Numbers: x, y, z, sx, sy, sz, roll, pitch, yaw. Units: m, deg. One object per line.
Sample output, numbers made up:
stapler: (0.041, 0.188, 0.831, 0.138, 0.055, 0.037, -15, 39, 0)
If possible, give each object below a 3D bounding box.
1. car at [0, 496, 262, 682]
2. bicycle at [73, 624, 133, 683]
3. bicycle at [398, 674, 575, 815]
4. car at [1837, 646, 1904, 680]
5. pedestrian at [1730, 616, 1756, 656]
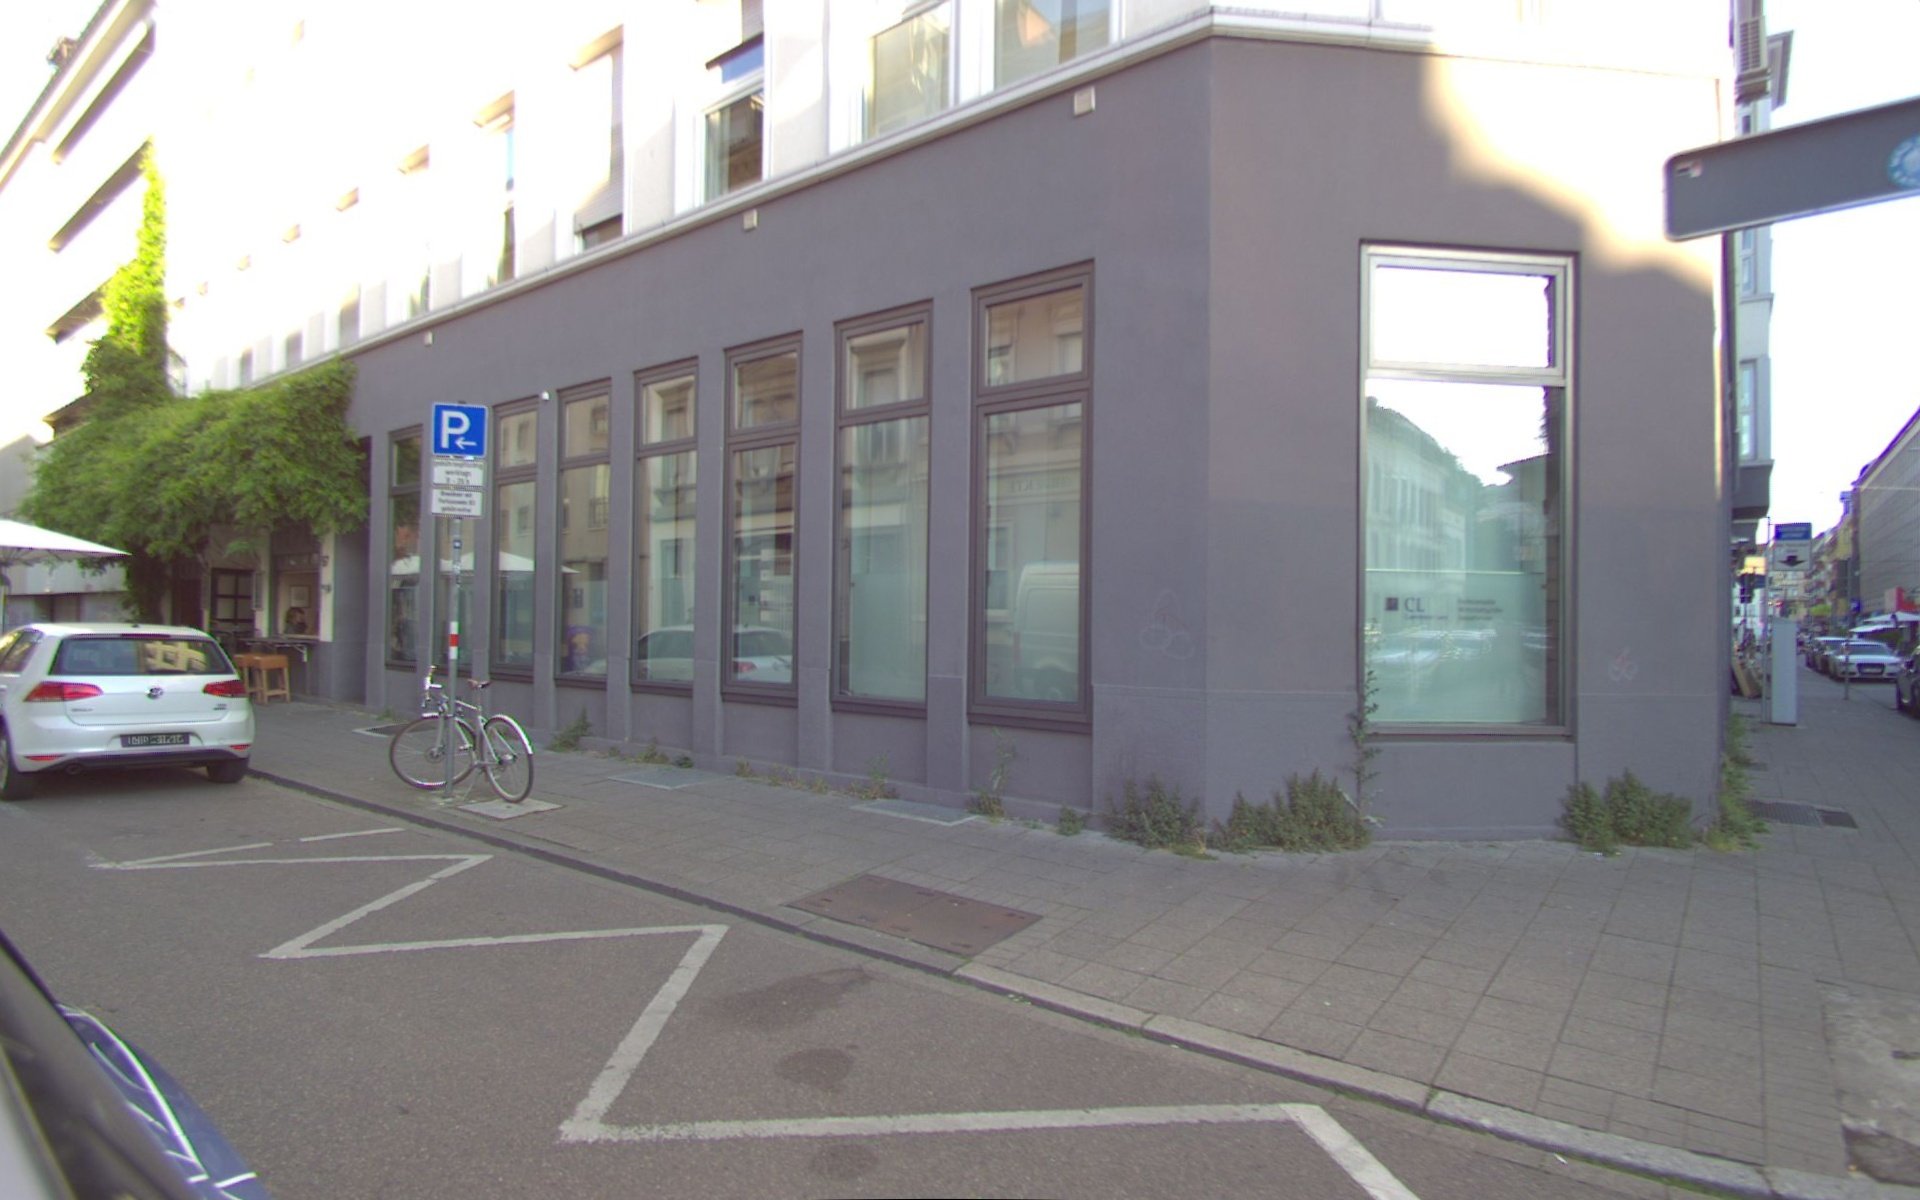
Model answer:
car: (-8.307, -0.060, 9.599, 3.876, 1.424, 1.642, 0, -2, 38)
bicycle: (-17.816, 1.079, 21.031, 1.792, 1.169, 0.636, -1, -1, 39)
bicycle: (-3.711, 1.073, 7.878, 1.642, 0.912, 0.590, -1, -2, 39)
car: (31.705, 2.172, 35.306, 1.513, 1.067, 3.422, -1, -2, 38)
pedestrian: (43.369, 1.970, 56.051, 1.029, 2.191, 0.876, 0, -2, 31)
